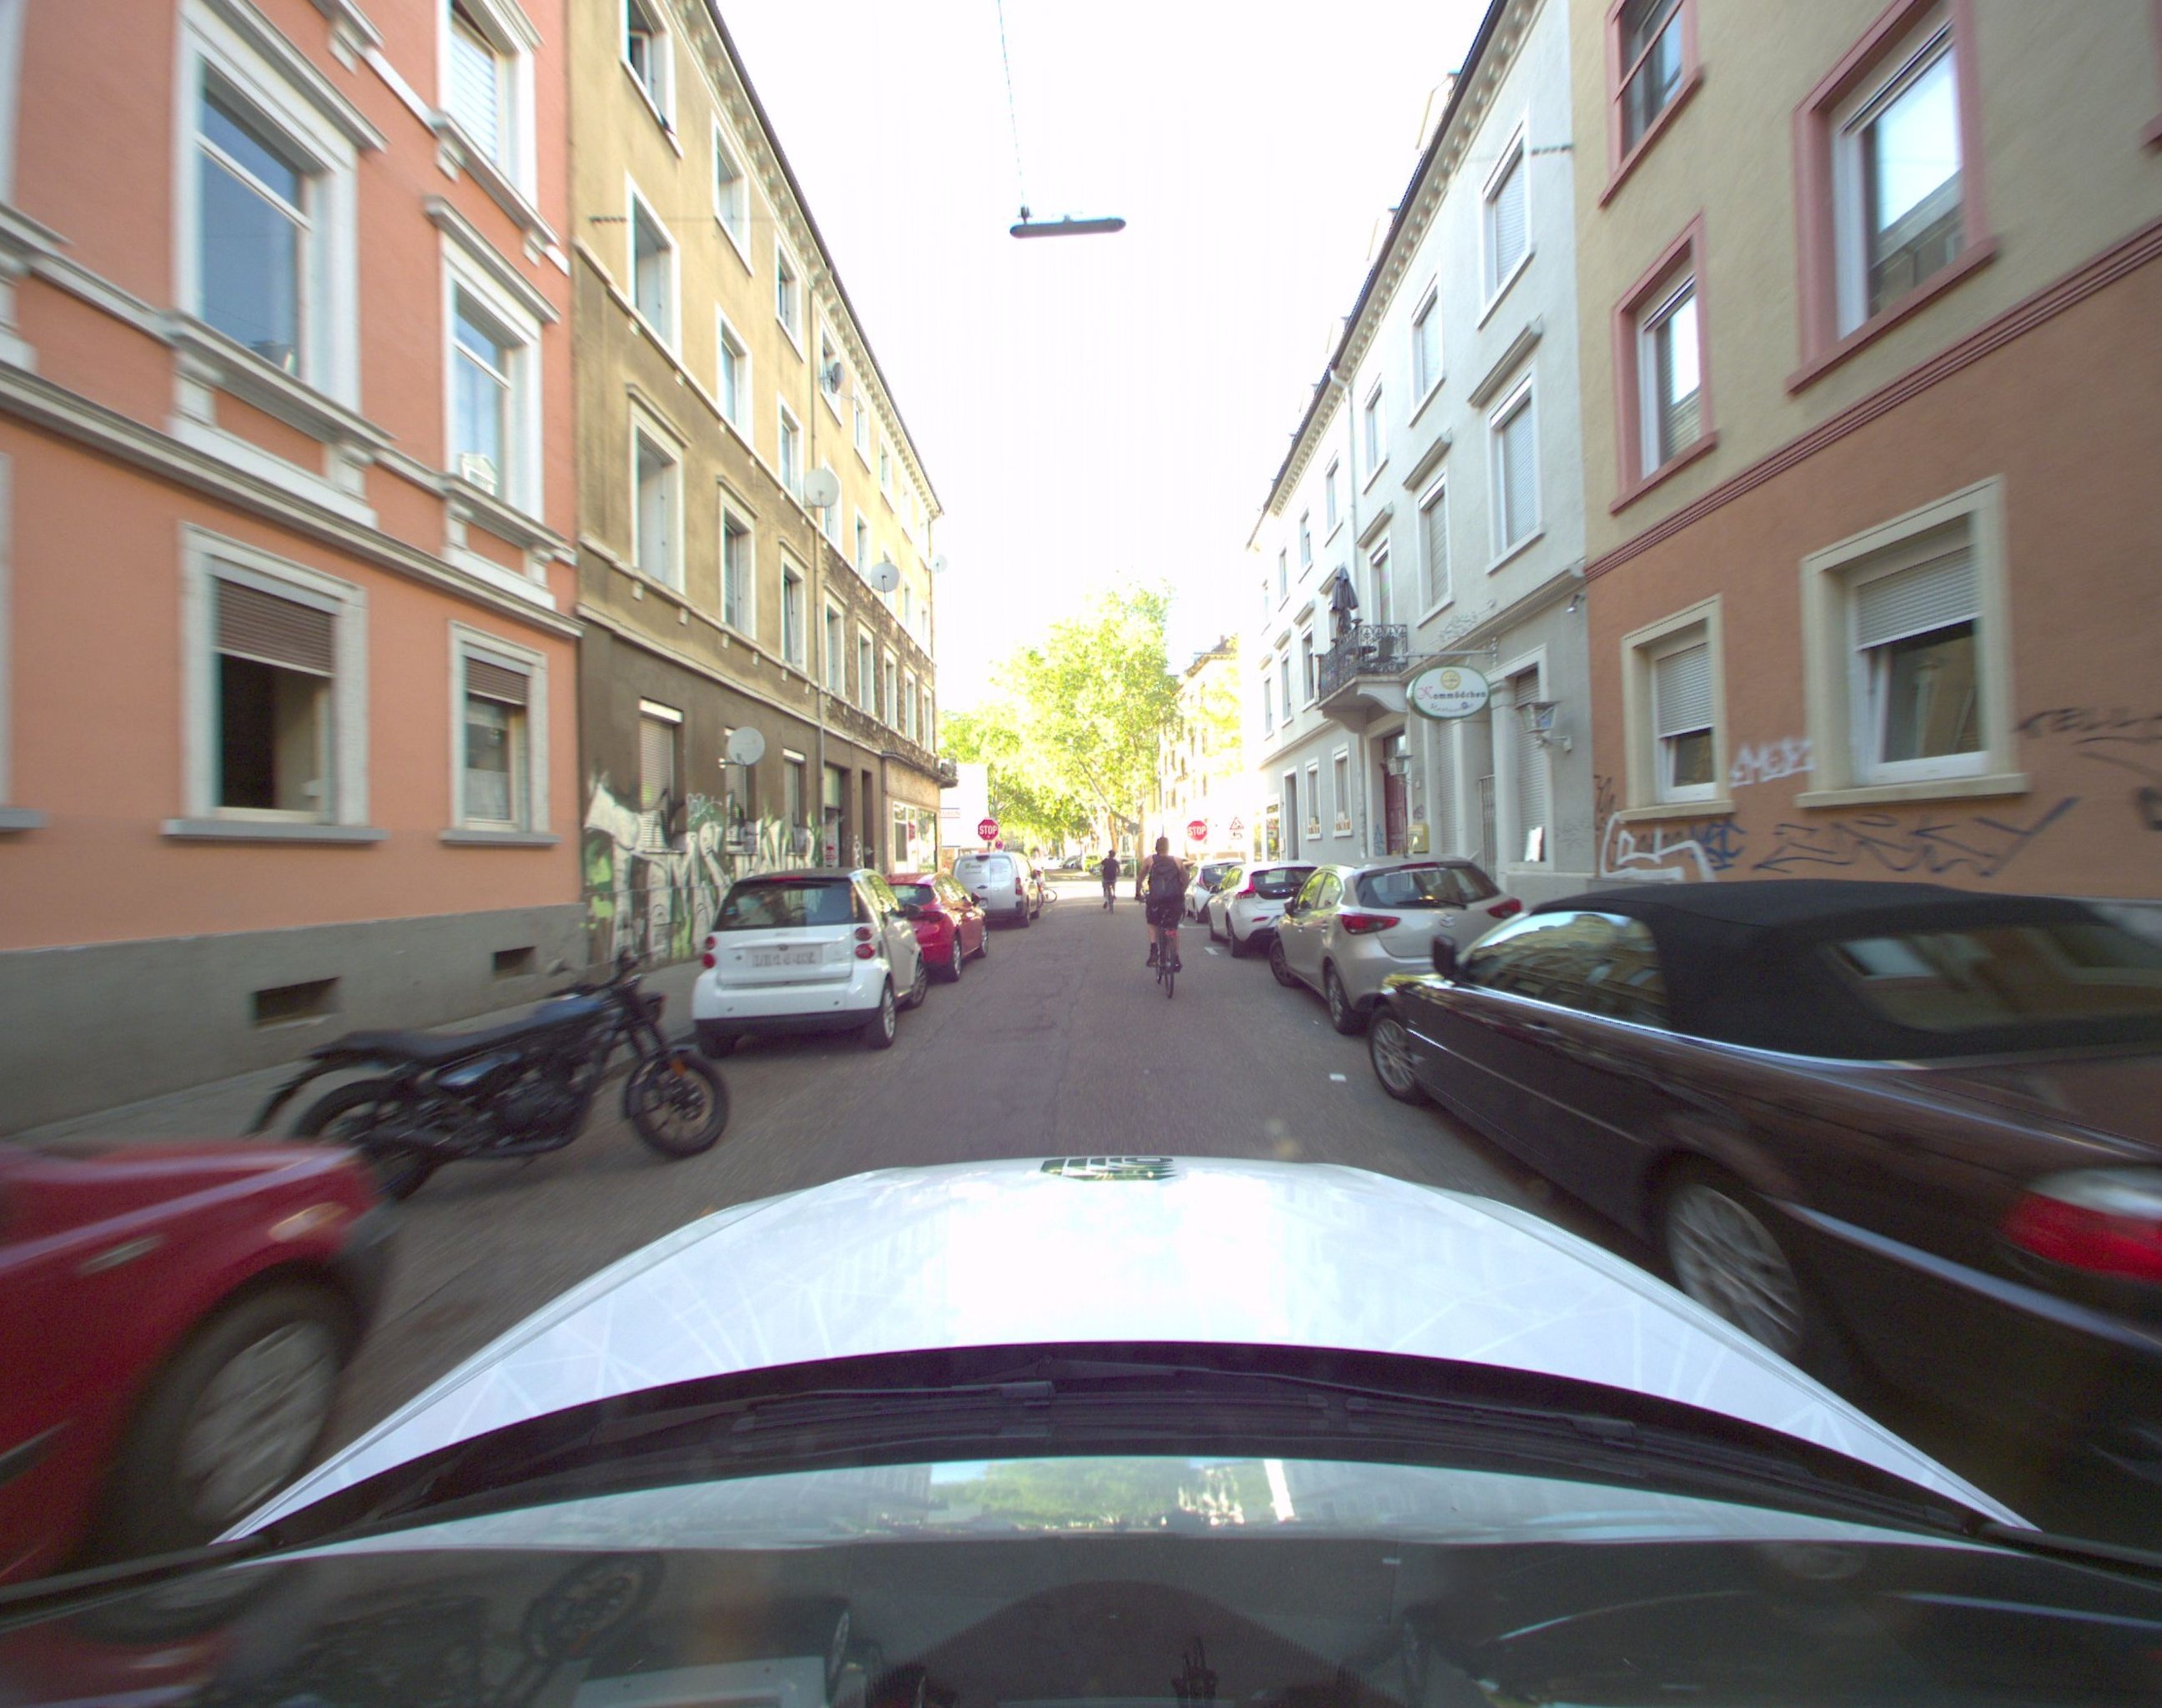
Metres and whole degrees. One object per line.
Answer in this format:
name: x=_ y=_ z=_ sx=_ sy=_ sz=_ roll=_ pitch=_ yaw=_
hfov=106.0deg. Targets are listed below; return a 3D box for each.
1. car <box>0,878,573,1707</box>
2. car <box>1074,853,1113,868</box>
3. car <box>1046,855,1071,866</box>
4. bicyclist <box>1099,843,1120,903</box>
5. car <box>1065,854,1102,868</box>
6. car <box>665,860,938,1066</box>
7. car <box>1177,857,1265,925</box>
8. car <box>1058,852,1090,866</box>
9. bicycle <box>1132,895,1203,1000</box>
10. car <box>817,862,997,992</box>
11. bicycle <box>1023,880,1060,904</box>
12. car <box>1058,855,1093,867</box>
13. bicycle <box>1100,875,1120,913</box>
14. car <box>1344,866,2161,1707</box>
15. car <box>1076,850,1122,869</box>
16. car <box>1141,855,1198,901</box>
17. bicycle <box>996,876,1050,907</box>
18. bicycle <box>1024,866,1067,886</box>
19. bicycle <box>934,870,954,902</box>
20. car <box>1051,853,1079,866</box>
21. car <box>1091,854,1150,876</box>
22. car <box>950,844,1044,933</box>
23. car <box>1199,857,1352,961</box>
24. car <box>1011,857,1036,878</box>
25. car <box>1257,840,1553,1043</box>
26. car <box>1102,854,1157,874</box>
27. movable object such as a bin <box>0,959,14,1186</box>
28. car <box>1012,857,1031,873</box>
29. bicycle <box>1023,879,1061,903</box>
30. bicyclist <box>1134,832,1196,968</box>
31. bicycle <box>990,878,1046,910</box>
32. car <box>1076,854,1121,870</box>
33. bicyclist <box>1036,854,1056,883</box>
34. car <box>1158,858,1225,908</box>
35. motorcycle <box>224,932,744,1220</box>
car: x=-2.736 y=0.852 z=1.136 sx=1.673 sy=1.492 sz=3.613 roll=-2 pitch=0 yaw=2
car: x=1.487 y=0.783 z=98.232 sx=4.457 sy=1.571 sz=1.724 roll=-2 pitch=0 yaw=-7
car: x=-4.236 y=1.257 z=152.778 sx=4.457 sy=1.898 sz=1.724 roll=-2 pitch=0 yaw=-7
bicyclist: x=0.812 y=0.543 z=23.297 sx=0.540 sy=1.688 sz=0.653 roll=-1 pitch=-1 yaw=0
car: x=0.335 y=0.846 z=101.325 sx=4.457 sy=1.571 sz=1.724 roll=-2 pitch=0 yaw=-7
car: x=-2.485 y=0.871 z=7.978 sx=1.675 sy=1.549 sz=2.957 roll=-3 pitch=0 yaw=-2
car: x=3.519 y=0.874 z=21.042 sx=1.631 sy=1.587 sz=3.787 roll=0 pitch=0 yaw=0
car: x=-0.974 y=0.717 z=118.132 sx=4.457 sy=1.898 sz=1.724 roll=-2 pitch=0 yaw=-7
bicycle: x=0.967 y=1.031 z=9.507 sx=0.687 sy=1.016 sz=1.908 roll=0 pitch=0 yaw=2
car: x=-2.355 y=0.925 z=12.139 sx=1.674 sy=1.473 sz=4.202 roll=-4 pitch=0 yaw=0
bicycle: x=-1.457 y=1.388 z=29.889 sx=1.308 sy=0.818 sz=0.370 roll=-2 pitch=0 yaw=-9
car: x=-0.738 y=0.926 z=108.481 sx=4.457 sy=1.571 sz=1.724 roll=-2 pitch=0 yaw=-7
bicycle: x=0.820 y=1.123 z=23.330 sx=0.550 sy=1.016 sz=1.628 roll=-1 pitch=-1 yaw=1
car: x=2.694 y=0.773 z=3.458 sx=1.761 sy=1.394 sz=4.495 roll=0 pitch=0 yaw=1
car: x=1.851 y=0.556 z=82.861 sx=4.458 sy=1.836 sz=1.724 roll=-2 pitch=0 yaw=-8
car: x=3.364 y=0.887 z=31.734 sx=1.754 sy=1.662 sz=4.196 roll=0 pitch=0 yaw=0
bicycle: x=-1.983 y=1.280 z=27.742 sx=1.765 sy=0.961 sz=0.479 roll=-2 pitch=0 yaw=-11
bicycle: x=-2.055 y=1.291 z=47.282 sx=2.419 sy=1.093 sz=0.894 roll=-1 pitch=-2 yaw=-6
bicycle: x=-4.950 y=1.140 z=29.440 sx=0.396 sy=1.092 sz=1.592 roll=-2 pitch=-1 yaw=1
car: x=-2.630 y=0.876 z=133.583 sx=4.457 sy=1.898 sz=1.724 roll=-2 pitch=0 yaw=-7
car: x=3.107 y=0.889 z=64.954 sx=4.457 sy=1.571 sz=1.724 roll=-2 pitch=0 yaw=-7
car: x=-2.012 y=0.792 z=20.797 sx=1.673 sy=1.910 sz=4.521 roll=-5 pitch=0 yaw=2
car: x=3.122 y=0.805 z=13.922 sx=1.673 sy=1.510 sz=4.190 roll=0 pitch=0 yaw=1
car: x=-4.621 y=1.029 z=65.094 sx=1.642 sy=1.494 sz=3.990 roll=-4 pitch=0 yaw=-7
car: x=3.004 y=0.694 z=8.537 sx=1.672 sy=1.597 sz=4.194 roll=0 pitch=0 yaw=4
car: x=4.169 y=0.835 z=69.909 sx=4.457 sy=1.571 sz=1.724 roll=-2 pitch=0 yaw=-7
movable object such as a bin: x=-5.451 y=1.015 z=3.550 sx=0.773 sy=1.049 sz=0.664 roll=1 pitch=0 yaw=9
car: x=-5.929 y=1.071 z=80.999 sx=1.664 sy=1.562 sz=3.990 roll=-2 pitch=0 yaw=-7
bicycle: x=-1.409 y=1.337 z=29.513 sx=1.308 sy=0.818 sz=0.354 roll=-2 pitch=0 yaw=-9
bicyclist: x=0.959 y=0.516 z=9.428 sx=0.674 sy=1.513 sz=0.669 roll=0 pitch=-1 yaw=1
bicycle: x=-2.029 y=1.281 z=26.358 sx=1.759 sy=0.961 sz=0.405 roll=-2 pitch=0 yaw=-1
car: x=1.767 y=0.845 z=84.873 sx=4.457 sy=1.571 sz=1.724 roll=-2 pitch=0 yaw=-7
bicyclist: x=-2.034 y=0.851 z=47.299 sx=1.095 sy=1.640 sz=0.894 roll=-1 pitch=-2 yaw=-5
car: x=3.556 y=0.887 z=26.804 sx=1.640 sy=1.503 sz=3.954 roll=0 pitch=0 yaw=0
motorcycle: x=-2.937 y=1.047 z=4.332 sx=2.082 sy=1.128 sz=0.785 roll=0 pitch=0 yaw=-21
